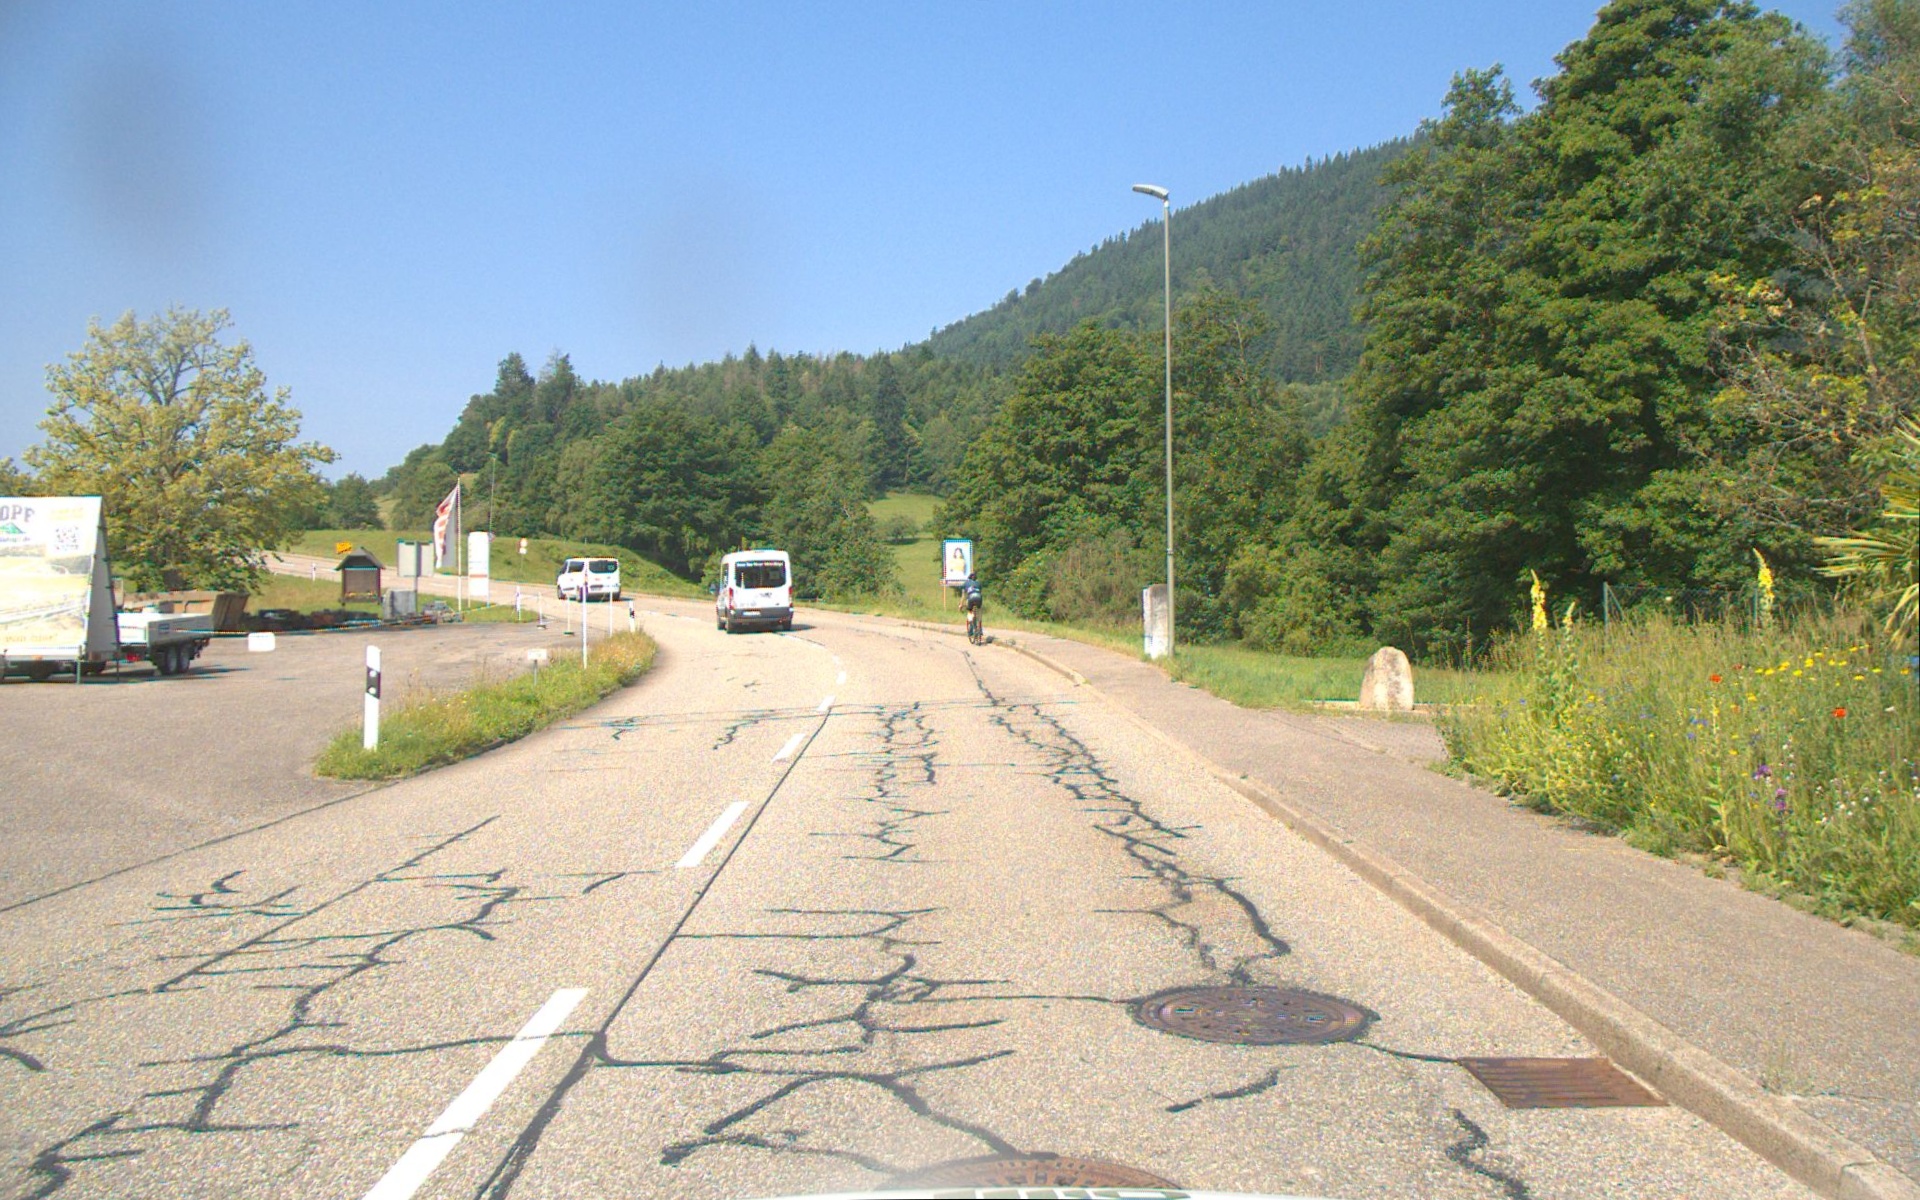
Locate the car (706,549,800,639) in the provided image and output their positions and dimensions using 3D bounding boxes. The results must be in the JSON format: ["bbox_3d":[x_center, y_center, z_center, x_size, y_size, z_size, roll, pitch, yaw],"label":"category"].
[{"bbox_3d":[-6.589,-0.252,52.151,2.186,2.569,4.965,-4,3,-15],"label":"car"}]

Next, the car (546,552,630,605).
[{"bbox_3d":[-17.793,-1.052,78.889,2.204,2.326,4.926,-5,3,-34],"label":"car"}]

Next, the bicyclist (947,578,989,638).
[{"bbox_3d":[0.183,0.183,38.965,0.571,1.365,1.138,-4,2,-20],"label":"bicyclist"}]

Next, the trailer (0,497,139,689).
[{"bbox_3d":[-15.224,-0.121,26.396,3.328,2.963,1.880,1,0,-9],"label":"trailer"}]

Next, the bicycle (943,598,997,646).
[{"bbox_3d":[0.226,0.503,38.921,0.571,1.052,1.979,-4,2,-20],"label":"bicycle"}]

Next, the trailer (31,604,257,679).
[{"bbox_3d":[-15.061,0.716,30.930,1.955,1.248,5.539,1,0,-6],"label":"trailer"}]
